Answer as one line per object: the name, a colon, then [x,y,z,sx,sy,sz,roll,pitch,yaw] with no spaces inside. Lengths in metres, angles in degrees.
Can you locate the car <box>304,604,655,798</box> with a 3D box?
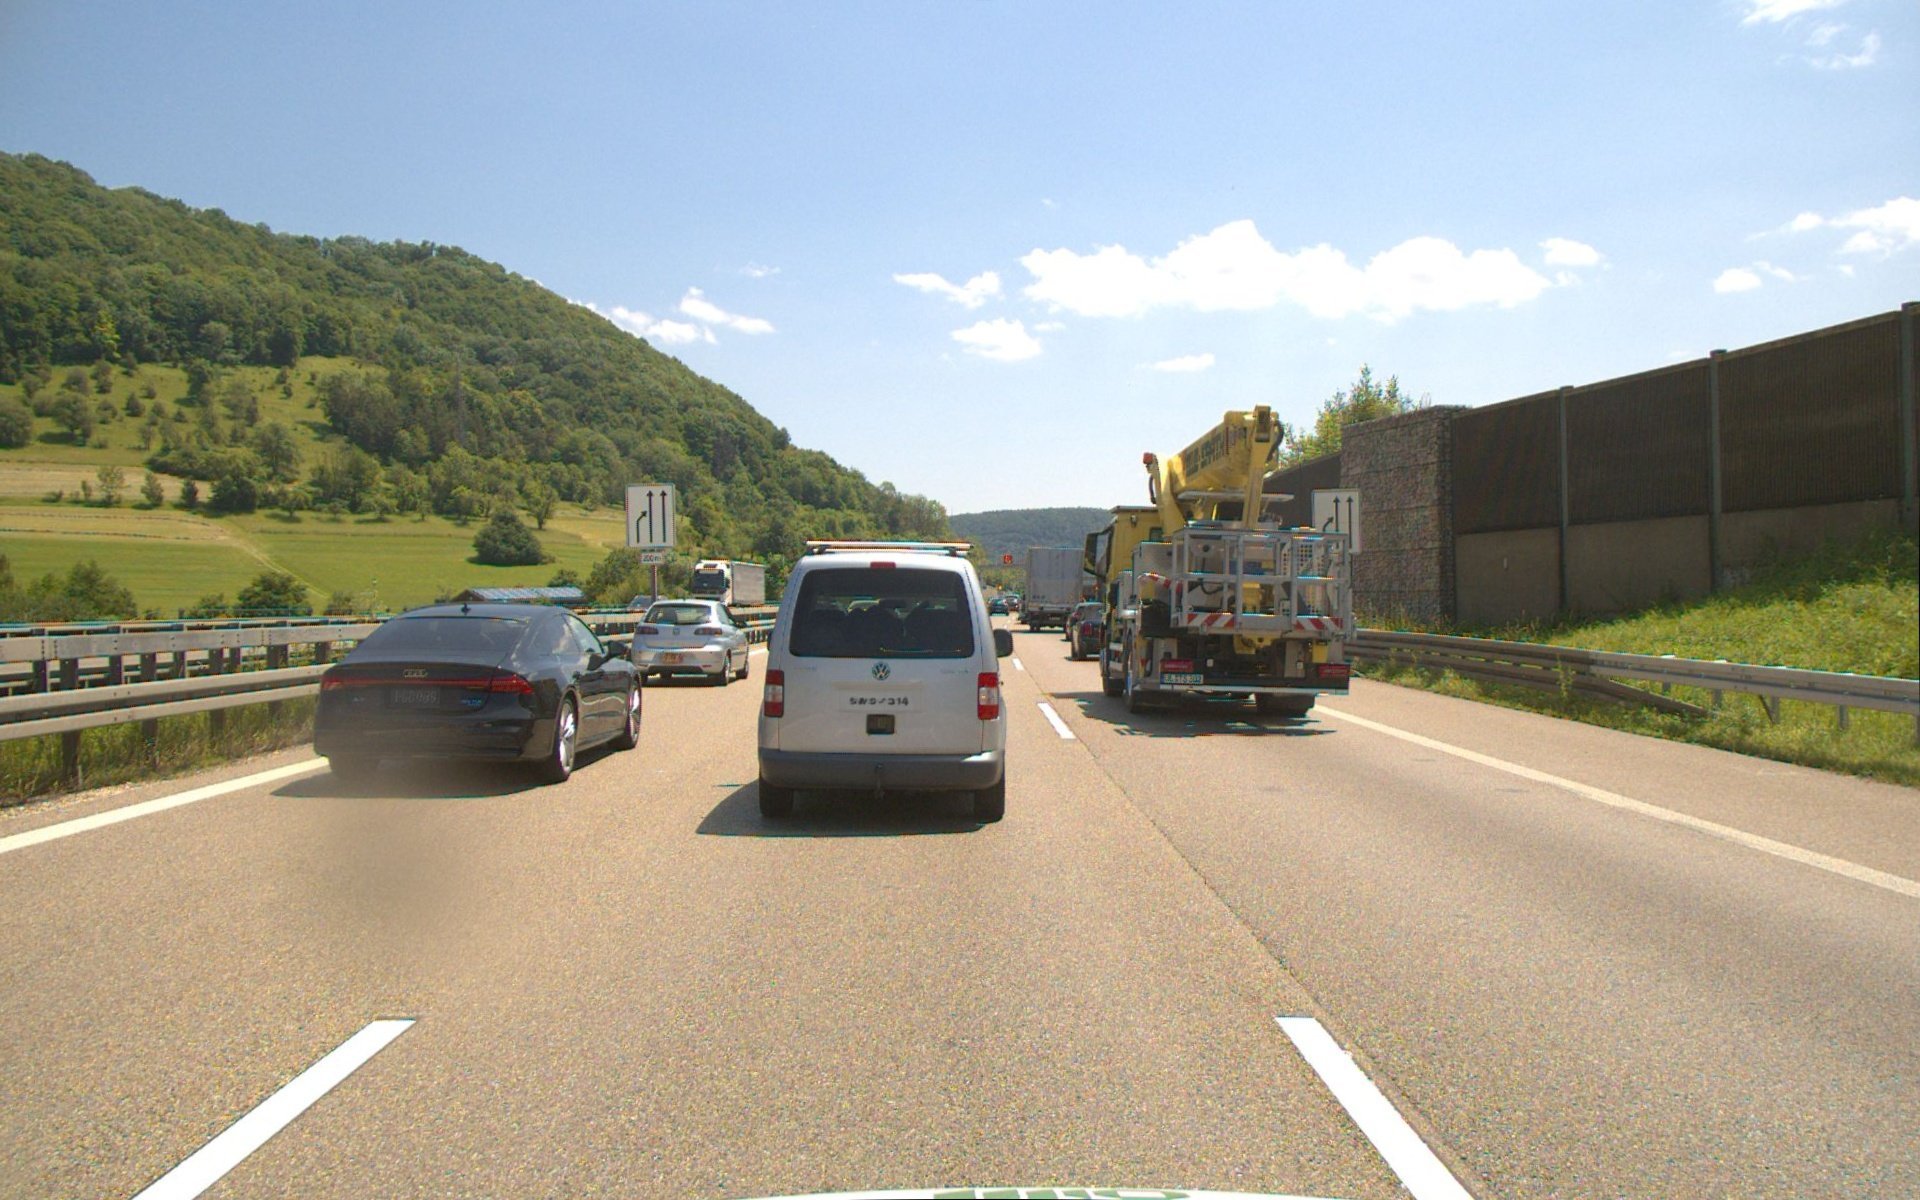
car: [-3.988,0.745,14.639,1.764,1.415,4.968,0,0,-1]

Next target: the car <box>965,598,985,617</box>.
car: [1.559,0.789,173.099,1.953,1.837,3.999,1,-1,-1]

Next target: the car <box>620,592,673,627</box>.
car: [-14.914,0.439,78.814,1.811,1.638,4.078,0,0,-1]

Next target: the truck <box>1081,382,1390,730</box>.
truck: [3.509,-0.508,23.473,2.649,4.011,8.718,0,0,-2]

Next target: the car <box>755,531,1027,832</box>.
car: [-0.504,0.516,12.475,1.721,1.900,3.998,0,0,-2]

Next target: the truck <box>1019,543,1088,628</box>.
truck: [4.457,-0.630,80.443,2.880,3.890,8.236,1,-1,0]

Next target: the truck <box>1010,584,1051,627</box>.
truck: [4.416,0.339,102.803,2.340,2.585,5.942,0,0,4]

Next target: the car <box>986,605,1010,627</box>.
car: [3.143,1.342,139.040,1.952,1.779,4.000,1,-1,1]

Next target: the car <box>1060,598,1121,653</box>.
car: [4.939,0.938,62.900,1.953,2.049,3.999,0,0,-1]

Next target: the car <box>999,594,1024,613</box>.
car: [5.001,0.367,161.229,2.072,1.860,3.998,1,-1,-2]

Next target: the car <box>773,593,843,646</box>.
car: [-4.626,0.570,50.800,1.886,1.525,3.998,1,0,-2]

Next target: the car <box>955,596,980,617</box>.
car: [0.689,0.627,151.095,2.072,1.860,3.998,1,-1,-2]

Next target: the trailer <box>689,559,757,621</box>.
trailer: [-17.277,-0.615,121.520,2.796,4.264,13.615,1,-1,1]

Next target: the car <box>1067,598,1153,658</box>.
car: [3.831,0.694,42.832,1.750,1.484,3.769,0,0,-2]

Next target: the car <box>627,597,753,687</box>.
car: [-4.652,0.679,28.953,1.661,1.470,3.860,0,0,-2]

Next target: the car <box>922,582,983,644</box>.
car: [-0.279,0.425,56.029,1.953,2.010,3.998,0,0,-2]

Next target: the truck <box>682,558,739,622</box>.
truck: [-17.378,-0.672,115.652,2.740,4.306,7.231,1,-1,1]
